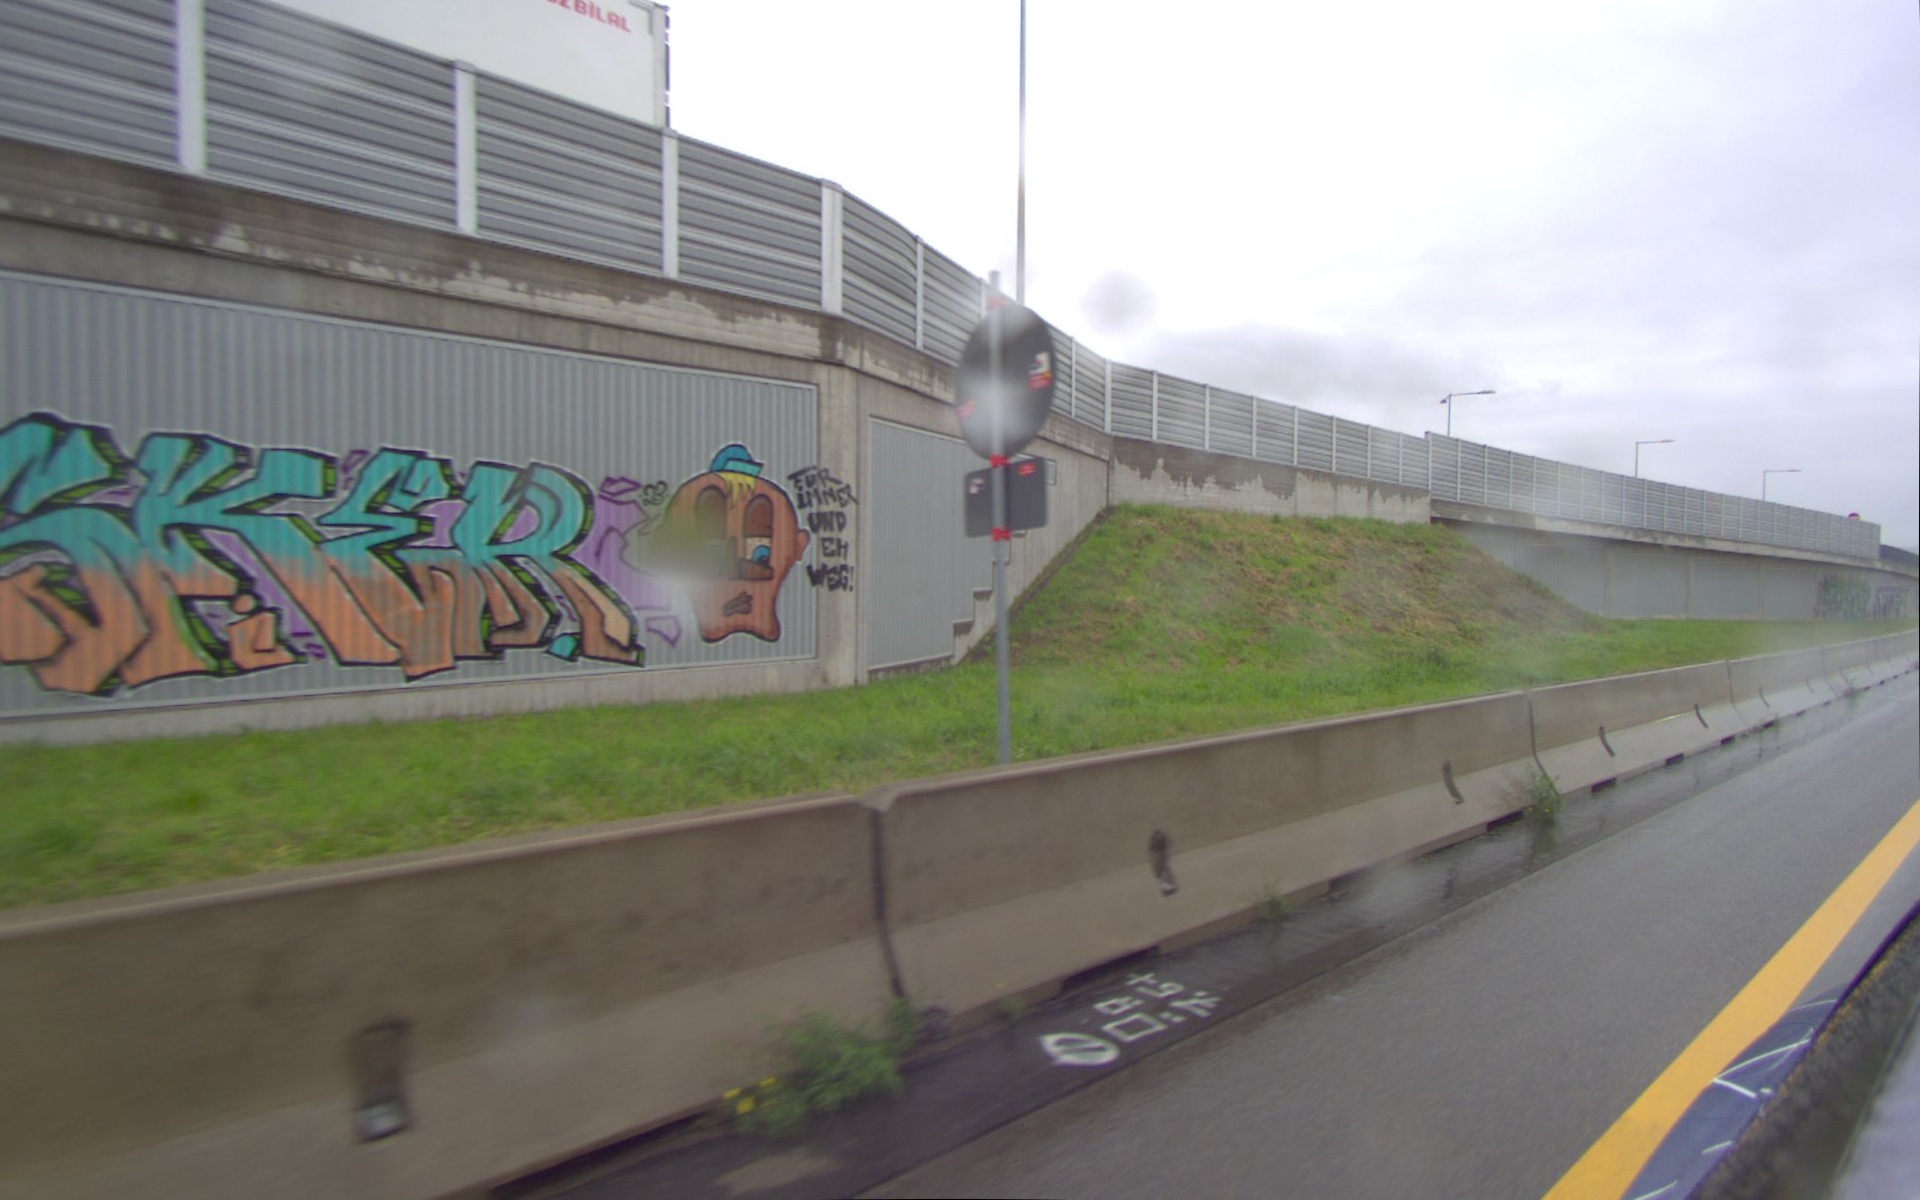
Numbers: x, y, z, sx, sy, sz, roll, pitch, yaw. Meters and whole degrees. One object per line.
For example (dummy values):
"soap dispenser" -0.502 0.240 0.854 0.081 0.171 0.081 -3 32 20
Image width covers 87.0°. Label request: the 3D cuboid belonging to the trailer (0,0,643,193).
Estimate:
"trailer" -9.401 -6.140 7.891 13.528 2.132 1.997 -2 2 -41
